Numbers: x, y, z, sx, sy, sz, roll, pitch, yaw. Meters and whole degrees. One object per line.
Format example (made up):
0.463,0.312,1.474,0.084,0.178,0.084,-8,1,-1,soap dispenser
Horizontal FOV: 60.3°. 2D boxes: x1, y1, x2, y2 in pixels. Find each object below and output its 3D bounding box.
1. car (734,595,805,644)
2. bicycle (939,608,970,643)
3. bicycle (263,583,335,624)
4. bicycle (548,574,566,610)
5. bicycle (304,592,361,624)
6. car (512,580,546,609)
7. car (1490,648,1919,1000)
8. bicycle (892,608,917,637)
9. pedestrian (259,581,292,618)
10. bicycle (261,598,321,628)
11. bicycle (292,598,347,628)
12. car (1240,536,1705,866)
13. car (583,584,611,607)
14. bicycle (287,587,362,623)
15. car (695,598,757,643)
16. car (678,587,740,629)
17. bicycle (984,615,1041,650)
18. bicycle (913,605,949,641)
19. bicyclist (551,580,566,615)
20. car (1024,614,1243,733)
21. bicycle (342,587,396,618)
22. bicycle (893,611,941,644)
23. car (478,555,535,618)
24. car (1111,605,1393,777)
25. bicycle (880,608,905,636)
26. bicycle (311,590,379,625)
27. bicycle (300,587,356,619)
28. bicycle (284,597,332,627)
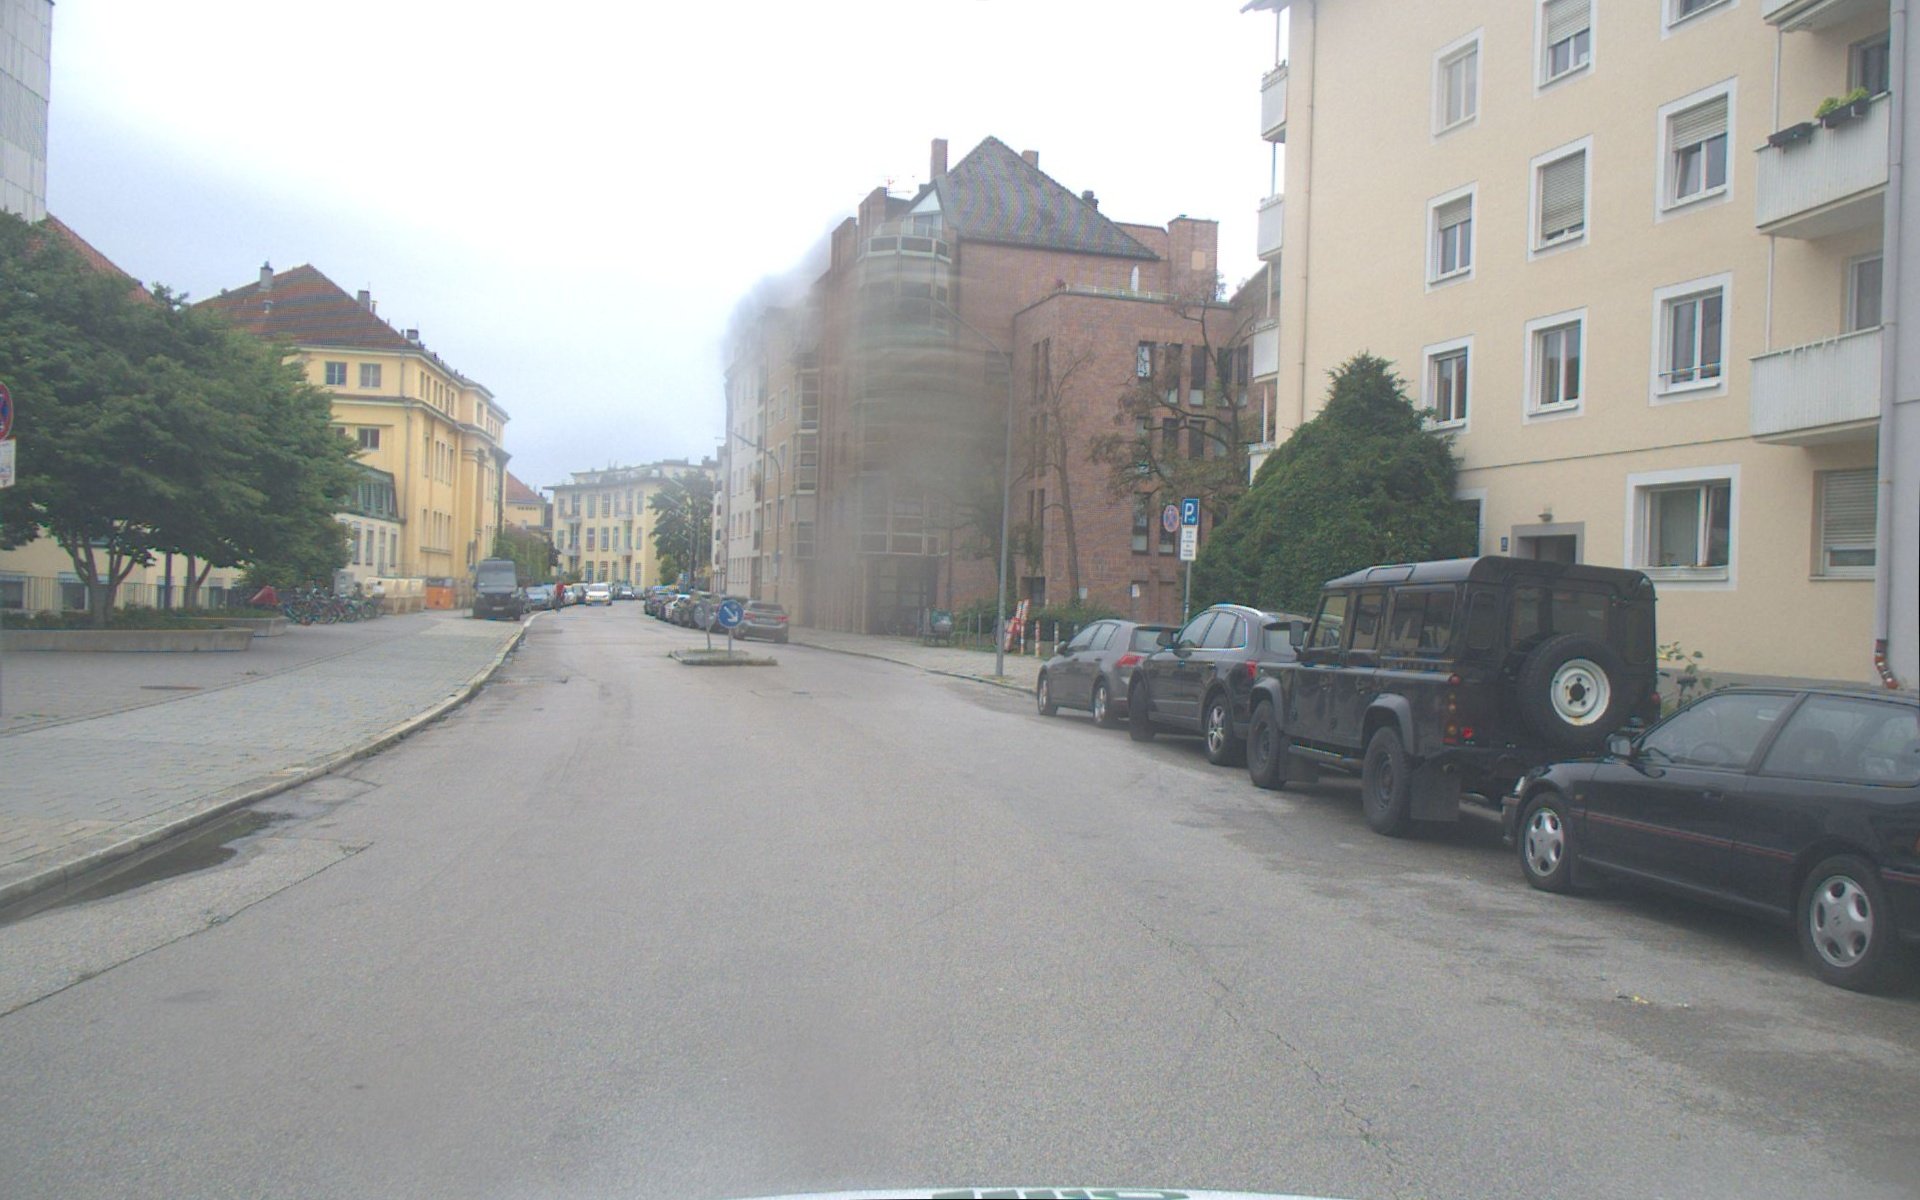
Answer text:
-6.858,0.681,59.189,1.893,1.538,4.375,4,0,-14,car
-0.195,0.923,58.739,0.412,1.193,1.359,4,0,30,bicycle
-22.535,0.106,56.376,2.064,1.249,0.786,4,0,-5,bicycle
-23.330,-0.462,95.811,0.734,2.049,2.842,0,1,-9,bicycle
-23.163,0.308,61.078,1.830,1.047,0.539,4,0,-5,bicycle
-26.642,-0.366,102.247,1.741,1.577,3.767,4,0,-12,car
4.480,1.026,8.558,1.629,1.372,3.793,4,-1,-11,car
-2.273,0.921,67.700,0.478,1.078,1.987,4,0,-17,bicycle
-22.541,-0.023,54.472,0.705,1.183,1.038,4,0,-10,pedestrian
-21.768,0.427,53.845,1.687,0.877,0.438,4,0,-9,bicycle
-22.501,0.446,58.151,1.642,0.932,0.595,4,0,-5,bicycle
3.836,0.647,13.329,1.715,2.117,4.508,4,0,-8,car
-27.355,-0.319,124.491,1.991,1.650,4.489,0,-1,-13,car
-23.197,0.176,60.373,2.503,1.227,0.424,2,0,-5,bicycle
-9.867,0.841,69.529,1.802,1.629,4.245,4,1,-18,car
-11.334,0.337,74.421,1.934,1.629,4.648,4,1,-18,car
1.665,1.026,52.405,1.672,0.982,0.544,4,0,-14,bicycle
-1.064,0.823,60.277,0.526,1.270,2.399,4,-2,-20,bicycle
-23.378,-0.156,96.240,0.752,2.048,0.766,-1,1,-9,bicyclist
2.330,0.967,23.242,1.725,1.420,4.029,4,-1,-14,car
-23.849,0.083,66.755,1.867,1.111,0.677,4,0,-5,bicycle
-1.715,1.092,66.073,1.814,1.167,0.487,4,0,-9,bicycle
-21.013,-0.592,76.616,2.382,2.762,5.927,1,-1,-16,car
3.121,0.914,18.652,1.628,1.593,4.504,4,-1,-10,car
-2.755,0.895,67.547,0.478,1.078,1.986,4,-1,-17,bicycle
-23.198,0.264,62.393,2.265,1.154,0.581,4,0,-5,bicycle
-22.831,0.104,59.742,1.756,1.051,0.507,4,0,-5,bicycle
-21.650,0.392,54.930,1.346,0.877,0.438,4,0,-9,bicycle
